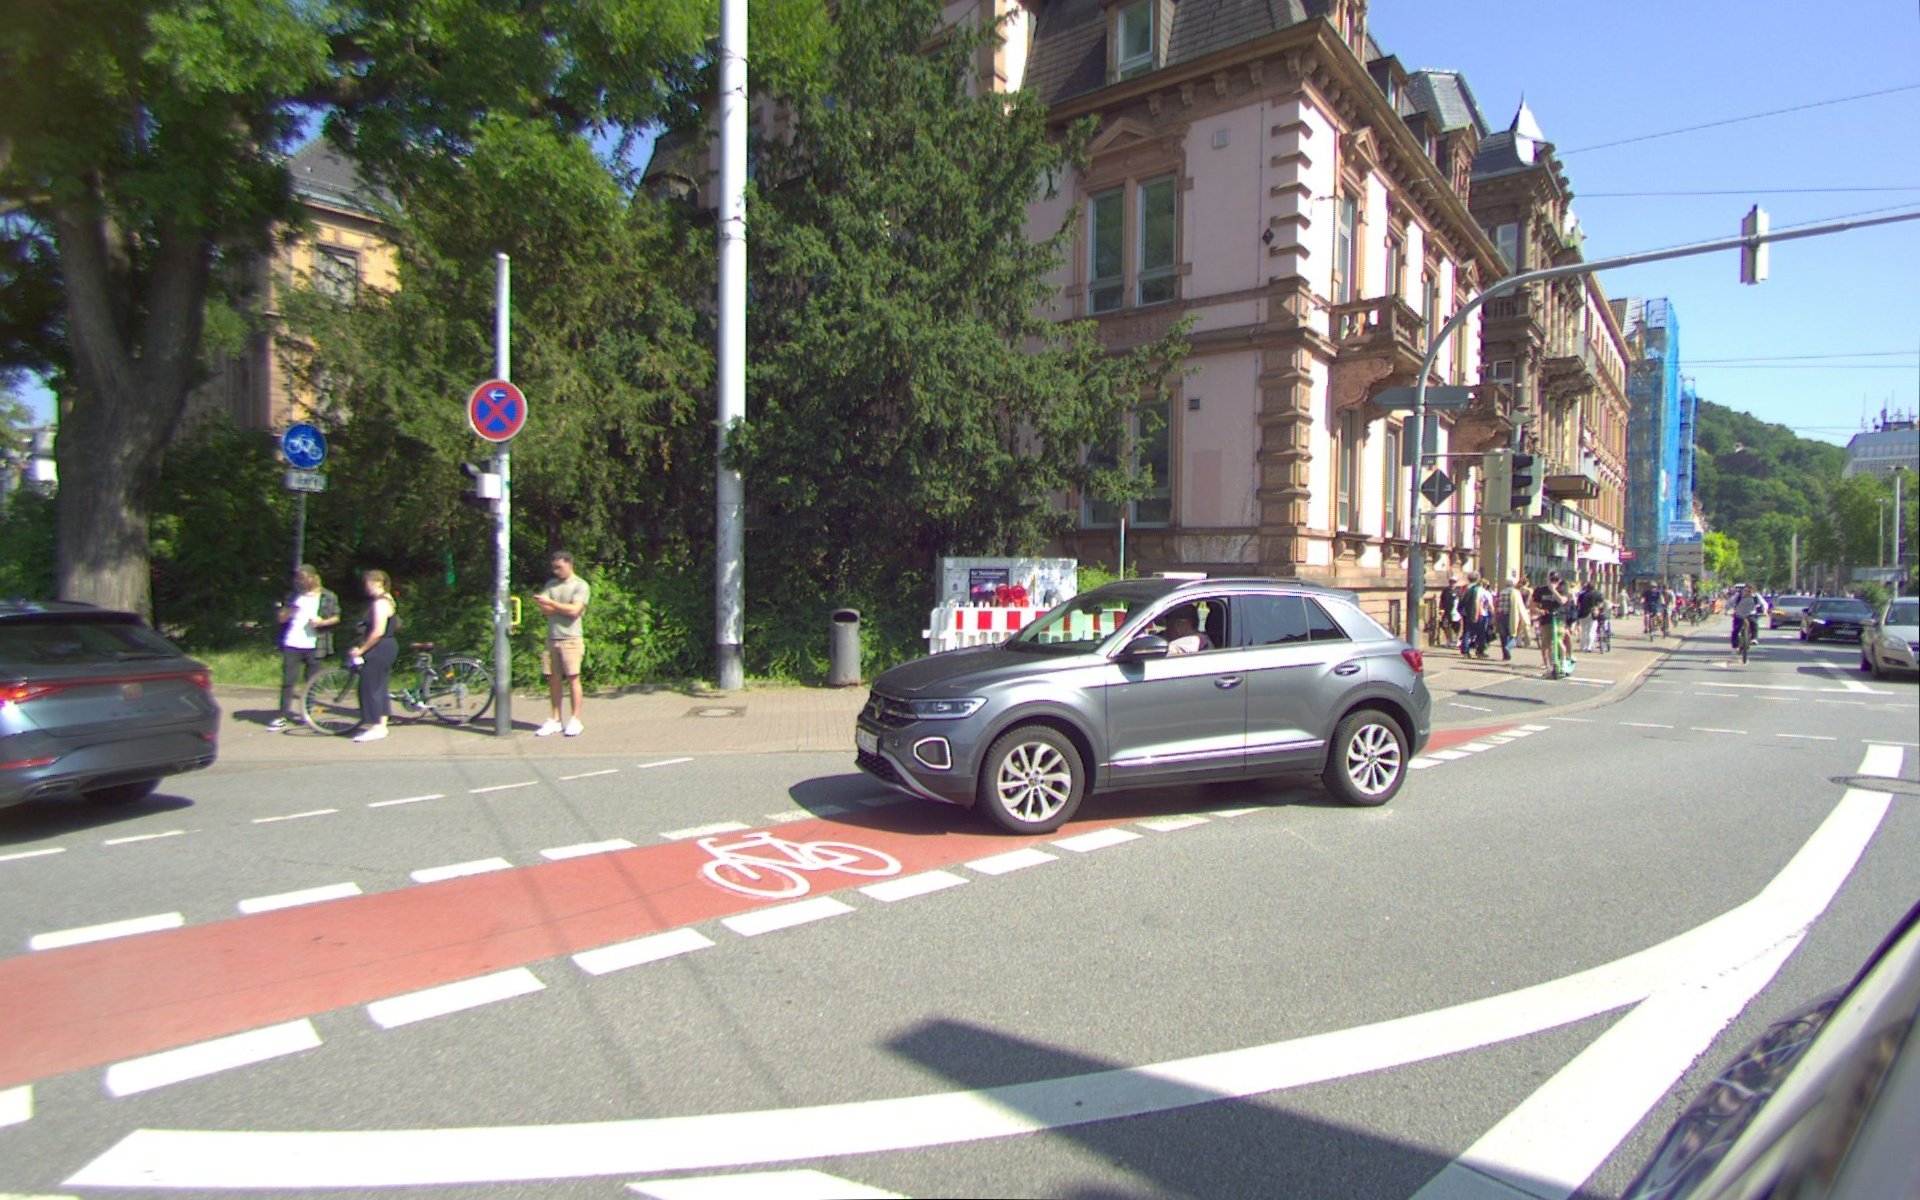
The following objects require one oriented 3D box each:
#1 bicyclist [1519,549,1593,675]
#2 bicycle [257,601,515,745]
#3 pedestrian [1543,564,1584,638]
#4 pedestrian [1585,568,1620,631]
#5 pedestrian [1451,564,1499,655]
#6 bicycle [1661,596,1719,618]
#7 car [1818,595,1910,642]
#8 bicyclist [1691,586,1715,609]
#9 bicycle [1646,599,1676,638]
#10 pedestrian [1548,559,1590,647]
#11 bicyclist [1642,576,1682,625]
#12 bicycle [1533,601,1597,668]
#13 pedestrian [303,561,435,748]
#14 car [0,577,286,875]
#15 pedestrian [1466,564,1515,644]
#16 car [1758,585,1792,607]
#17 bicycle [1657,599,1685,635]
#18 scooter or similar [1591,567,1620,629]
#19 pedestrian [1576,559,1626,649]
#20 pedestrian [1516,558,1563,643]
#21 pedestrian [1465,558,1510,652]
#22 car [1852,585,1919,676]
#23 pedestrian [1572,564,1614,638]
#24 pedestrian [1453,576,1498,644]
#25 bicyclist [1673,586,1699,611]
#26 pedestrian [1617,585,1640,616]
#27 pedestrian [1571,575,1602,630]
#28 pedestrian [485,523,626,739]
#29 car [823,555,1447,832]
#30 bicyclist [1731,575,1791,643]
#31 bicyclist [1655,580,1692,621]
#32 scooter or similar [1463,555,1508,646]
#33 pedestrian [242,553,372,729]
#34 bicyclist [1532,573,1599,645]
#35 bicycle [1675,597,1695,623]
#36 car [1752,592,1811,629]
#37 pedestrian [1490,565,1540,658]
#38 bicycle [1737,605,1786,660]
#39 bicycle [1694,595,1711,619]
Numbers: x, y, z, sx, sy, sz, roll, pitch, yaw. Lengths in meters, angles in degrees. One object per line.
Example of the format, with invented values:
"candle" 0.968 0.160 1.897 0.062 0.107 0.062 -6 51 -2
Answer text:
"bicyclist" 10.091 0.178 17.139 0.939 2.038 0.819 3 1 37
"bicycle" -5.978 0.707 10.671 2.230 1.219 0.804 -4 5 -30
"pedestrian" 17.278 0.032 28.979 0.810 2.038 0.804 5 3 37
"pedestrian" 21.404 -0.019 33.704 0.810 2.038 0.804 5 3 37
"pedestrian" 10.432 0.175 20.487 0.703 1.774 0.891 2 2 36
"bicycle" 40.458 0.386 56.108 2.488 1.096 0.634 3 2 43
"car" 27.982 0.545 31.435 1.886 1.347 3.944 0 0 38
"bicyclist" 36.597 -0.133 49.843 0.908 1.096 1.216 3 2 37
"bicycle" 21.467 0.538 30.960 0.640 1.096 2.463 3 2 37
"pedestrian" 14.619 0.067 24.302 0.659 2.038 0.690 5 3 37
"bicyclist" 21.414 0.005 30.856 0.908 1.454 1.216 3 2 37
"bicycle" 11.122 0.604 18.572 0.776 1.116 2.111 3 2 36
"pedestrian" -5.937 0.503 10.188 0.673 1.730 0.881 3 6 39
"car" -7.096 0.636 6.603 4.211 1.508 1.997 1 3 7
"pedestrian" 12.540 0.080 23.918 0.810 1.815 0.804 5 3 37
"car" 61.475 -0.307 76.343 1.990 1.594 3.943 0 0 39
"bicycle" 22.907 0.524 32.572 0.640 1.096 2.463 3 2 37
"scooter or similar" 21.959 -0.072 34.438 0.691 2.038 1.081 2 1 37
"pedestrian" 15.272 0.083 24.120 0.810 2.038 0.804 5 3 37
"pedestrian" 14.410 0.001 25.167 0.810 2.038 0.804 5 3 37
"pedestrian" 11.085 0.099 21.259 0.633 1.915 0.891 3 1 36
"car" 17.749 0.512 18.352 1.792 1.520 4.441 1 1 34
"pedestrian" 17.945 0.017 28.676 0.810 2.038 0.804 5 3 37
"pedestrian" 12.902 0.246 25.326 0.810 1.622 0.804 4 3 37
"bicyclist" 32.960 -0.078 45.956 0.908 1.082 1.216 3 2 37
"pedestrian" 36.353 0.011 55.018 0.908 1.620 1.216 3 1 37
"pedestrian" 20.156 0.077 32.544 0.705 1.715 0.619 3 2 41
"pedestrian" -4.057 0.277 10.185 0.773 2.038 1.045 2 1 38
"car" 1.183 0.541 7.203 3.909 1.535 1.940 1 0 -21
"bicyclist" 17.423 0.172 22.050 0.908 1.410 1.217 3 2 36
"bicyclist" 23.015 0.007 32.627 0.908 1.249 1.216 3 2 37
"scooter or similar" 12.065 0.001 23.226 0.691 2.038 1.081 2 1 37
"pedestrian" -7.114 0.404 11.036 1.050 1.802 0.695 1 4 28
"bicyclist" 11.100 0.150 18.538 0.919 1.234 0.959 3 2 37
"bicycle" 32.893 0.445 45.918 0.640 1.096 2.463 3 2 37
"car" 37.083 0.452 45.708 1.990 1.594 3.943 0 0 39
"pedestrian" 11.012 0.215 20.070 0.703 1.791 0.891 3 2 36
"bicycle" 17.419 0.674 22.023 0.640 1.096 2.465 3 2 35
"bicycle" 36.544 0.339 49.817 0.640 1.096 2.463 3 2 37
